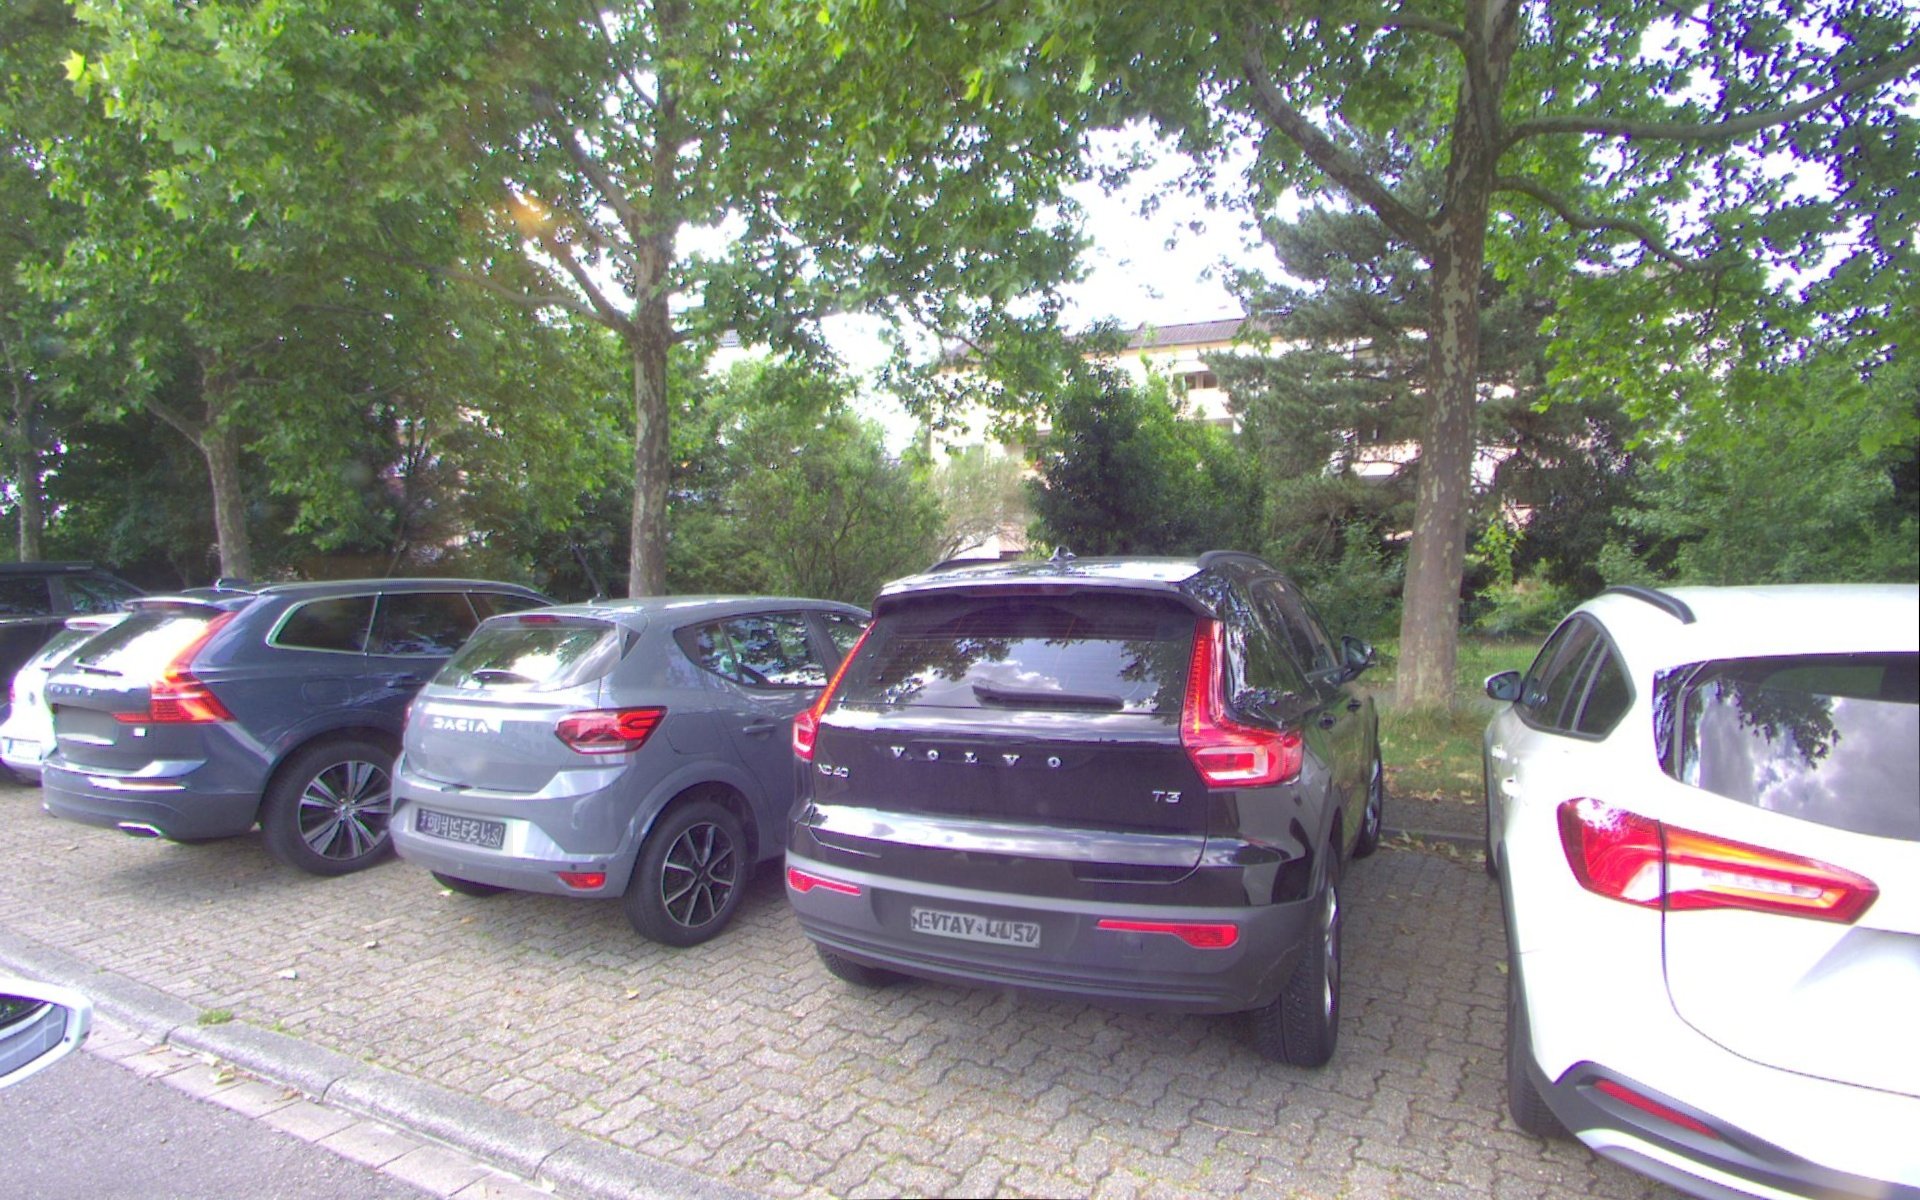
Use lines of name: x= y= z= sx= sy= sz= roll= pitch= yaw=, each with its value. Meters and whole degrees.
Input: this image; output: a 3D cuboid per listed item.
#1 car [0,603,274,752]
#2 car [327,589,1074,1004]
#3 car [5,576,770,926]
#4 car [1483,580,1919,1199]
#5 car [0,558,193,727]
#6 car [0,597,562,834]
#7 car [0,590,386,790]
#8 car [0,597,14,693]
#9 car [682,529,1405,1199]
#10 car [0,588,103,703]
car: x=-10.477 y=0.834 z=11.464 sx=1.730 sy=1.514 sz=3.959 roll=-1 pitch=1 yaw=30
car: x=-1.046 y=0.715 z=6.046 sx=1.731 sy=1.521 sz=4.370 roll=0 pitch=1 yaw=32
car: x=-3.501 y=0.685 z=7.058 sx=1.731 sy=1.661 sz=4.370 roll=0 pitch=1 yaw=32
car: x=2.919 y=0.684 z=3.539 sx=1.818 sy=1.493 sz=4.654 roll=0 pitch=1 yaw=27
car: x=-13.108 y=0.548 z=13.061 sx=1.828 sy=2.152 sz=4.538 roll=0 pitch=1 yaw=30
car: x=-5.744 y=0.767 z=8.773 sx=1.730 sy=1.514 sz=3.959 roll=0 pitch=1 yaw=30
car: x=-8.140 y=0.731 z=9.999 sx=1.725 sy=1.627 sz=3.969 roll=0 pitch=1 yaw=20
car: x=-18.687 y=0.833 z=16.194 sx=1.826 sy=1.683 sz=4.543 roll=0 pitch=1 yaw=26
car: x=1.001 y=0.627 z=4.769 sx=1.818 sy=1.648 sz=4.654 roll=0 pitch=1 yaw=27
car: x=-16.322 y=0.743 z=15.290 sx=1.828 sy=1.790 sz=4.538 roll=0 pitch=1 yaw=30
